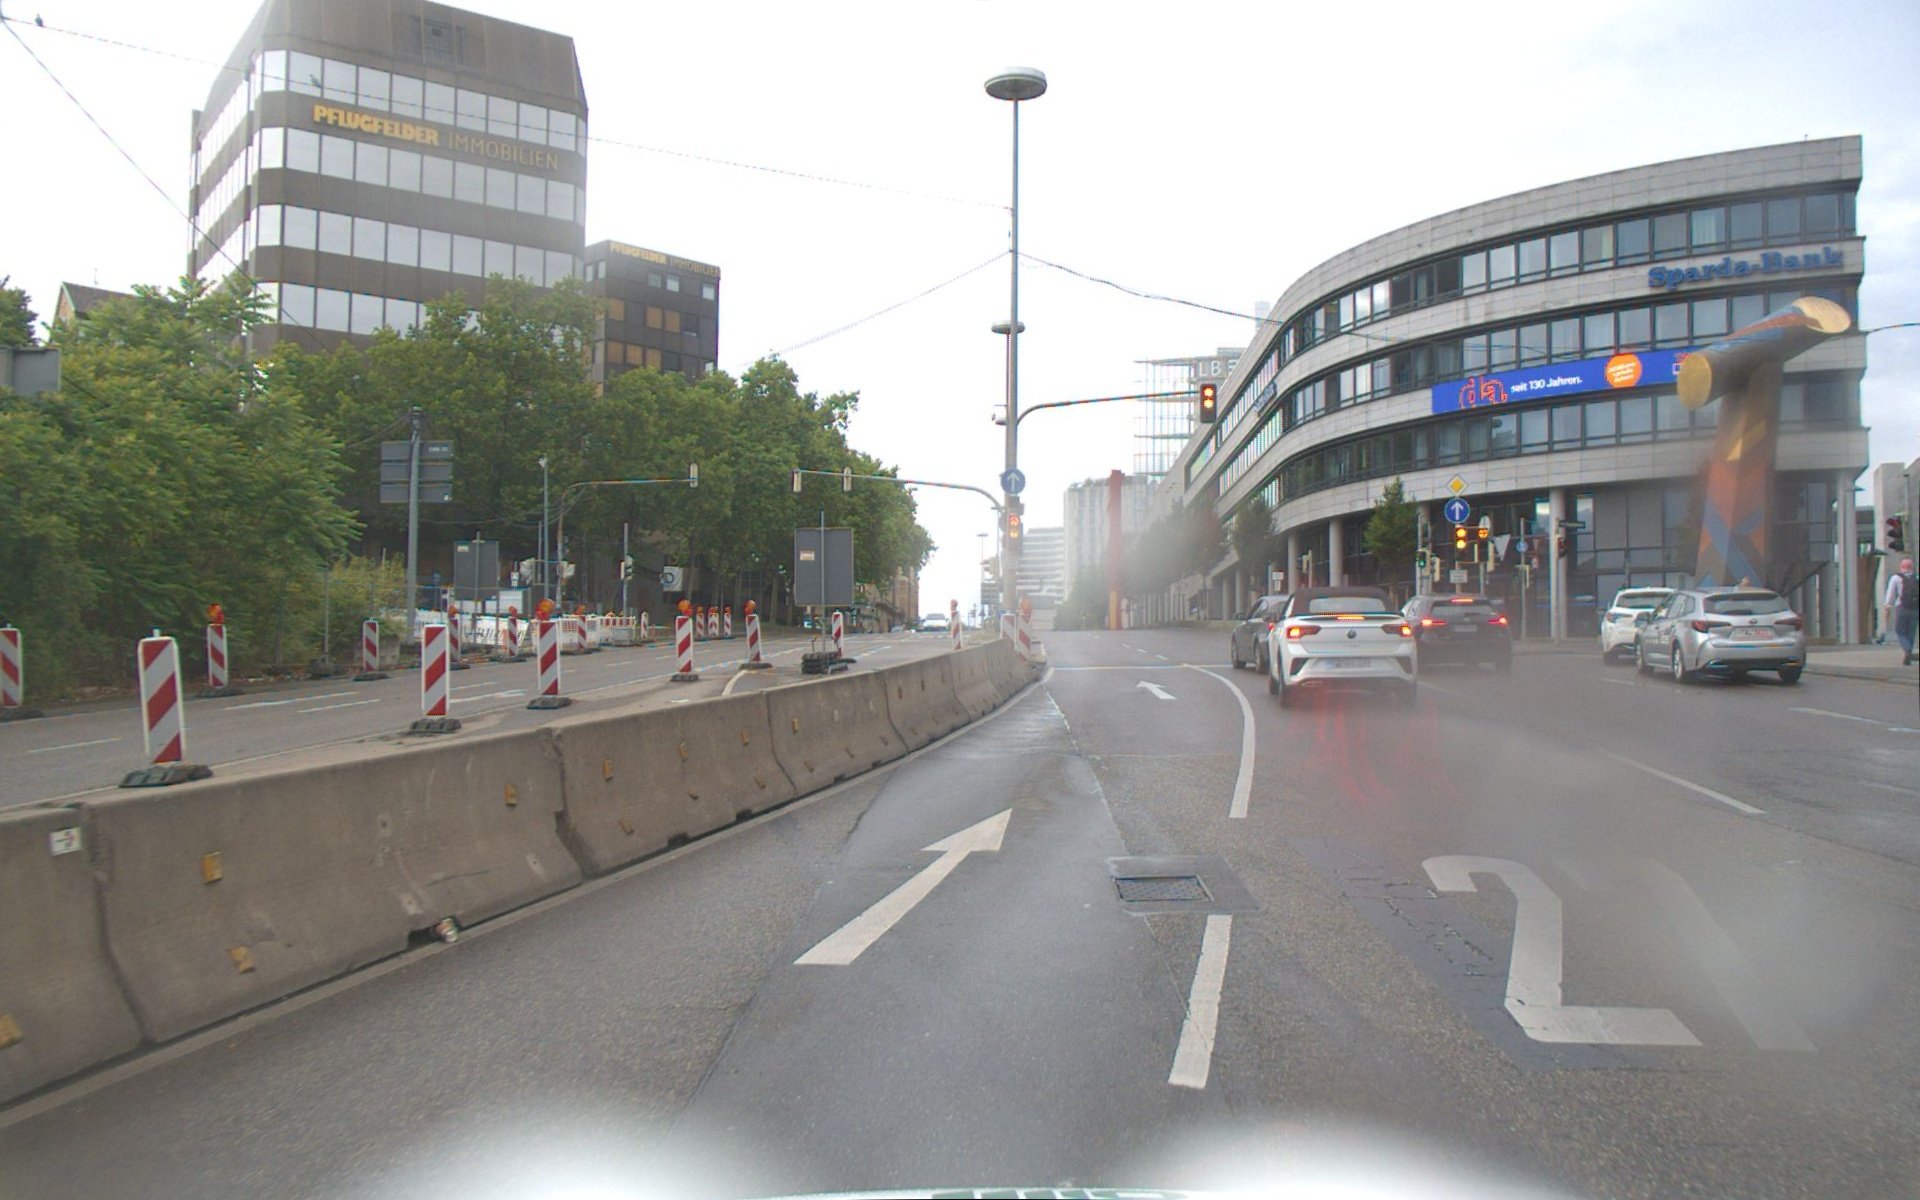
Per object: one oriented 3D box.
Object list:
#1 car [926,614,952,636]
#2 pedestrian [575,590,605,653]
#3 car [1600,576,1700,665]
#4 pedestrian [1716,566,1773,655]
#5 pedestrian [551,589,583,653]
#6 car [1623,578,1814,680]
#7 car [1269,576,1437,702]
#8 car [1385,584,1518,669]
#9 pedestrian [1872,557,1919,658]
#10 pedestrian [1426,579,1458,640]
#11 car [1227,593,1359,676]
[{"bbox_3d":[-1.549,1.833,122.060,1.724,1.486,4.361,-1,0,2],"label":"car"},{"bbox_3d":[-11.505,0.674,51.439,0.658,1.935,0.776,0,-3,5],"label":"pedestrian"},{"bbox_3d":[13.869,0.393,33.311,1.735,1.663,4.580,0,0,22],"label":"car"},{"bbox_3d":[19.354,0.255,40.791,0.840,2.135,0.899,2,-1,-21],"label":"pedestrian"},{"bbox_3d":[-12.228,0.662,51.489,0.745,1.956,0.742,0,-3,5],"label":"pedestrian"},{"bbox_3d":[11.999,0.471,26.470,1.664,1.476,4.619,0,-1,10],"label":"car"},{"bbox_3d":[5.296,0.490,22.772,1.922,1.576,4.222,0,0,9],"label":"car"},{"bbox_3d":[9.058,0.512,30.778,1.717,1.432,4.230,1,-1,8],"label":"car"},{"bbox_3d":[16.571,0.144,28.966,0.714,1.741,0.843,0,-3,2],"label":"pedestrian"},{"bbox_3d":[15.705,0.318,53.865,0.824,1.938,0.860,-1,-3,28],"label":"pedestrian"},{"bbox_3d":[6.239,0.631,31.390,1.704,1.468,4.000,0,0,0],"label":"car"}]
